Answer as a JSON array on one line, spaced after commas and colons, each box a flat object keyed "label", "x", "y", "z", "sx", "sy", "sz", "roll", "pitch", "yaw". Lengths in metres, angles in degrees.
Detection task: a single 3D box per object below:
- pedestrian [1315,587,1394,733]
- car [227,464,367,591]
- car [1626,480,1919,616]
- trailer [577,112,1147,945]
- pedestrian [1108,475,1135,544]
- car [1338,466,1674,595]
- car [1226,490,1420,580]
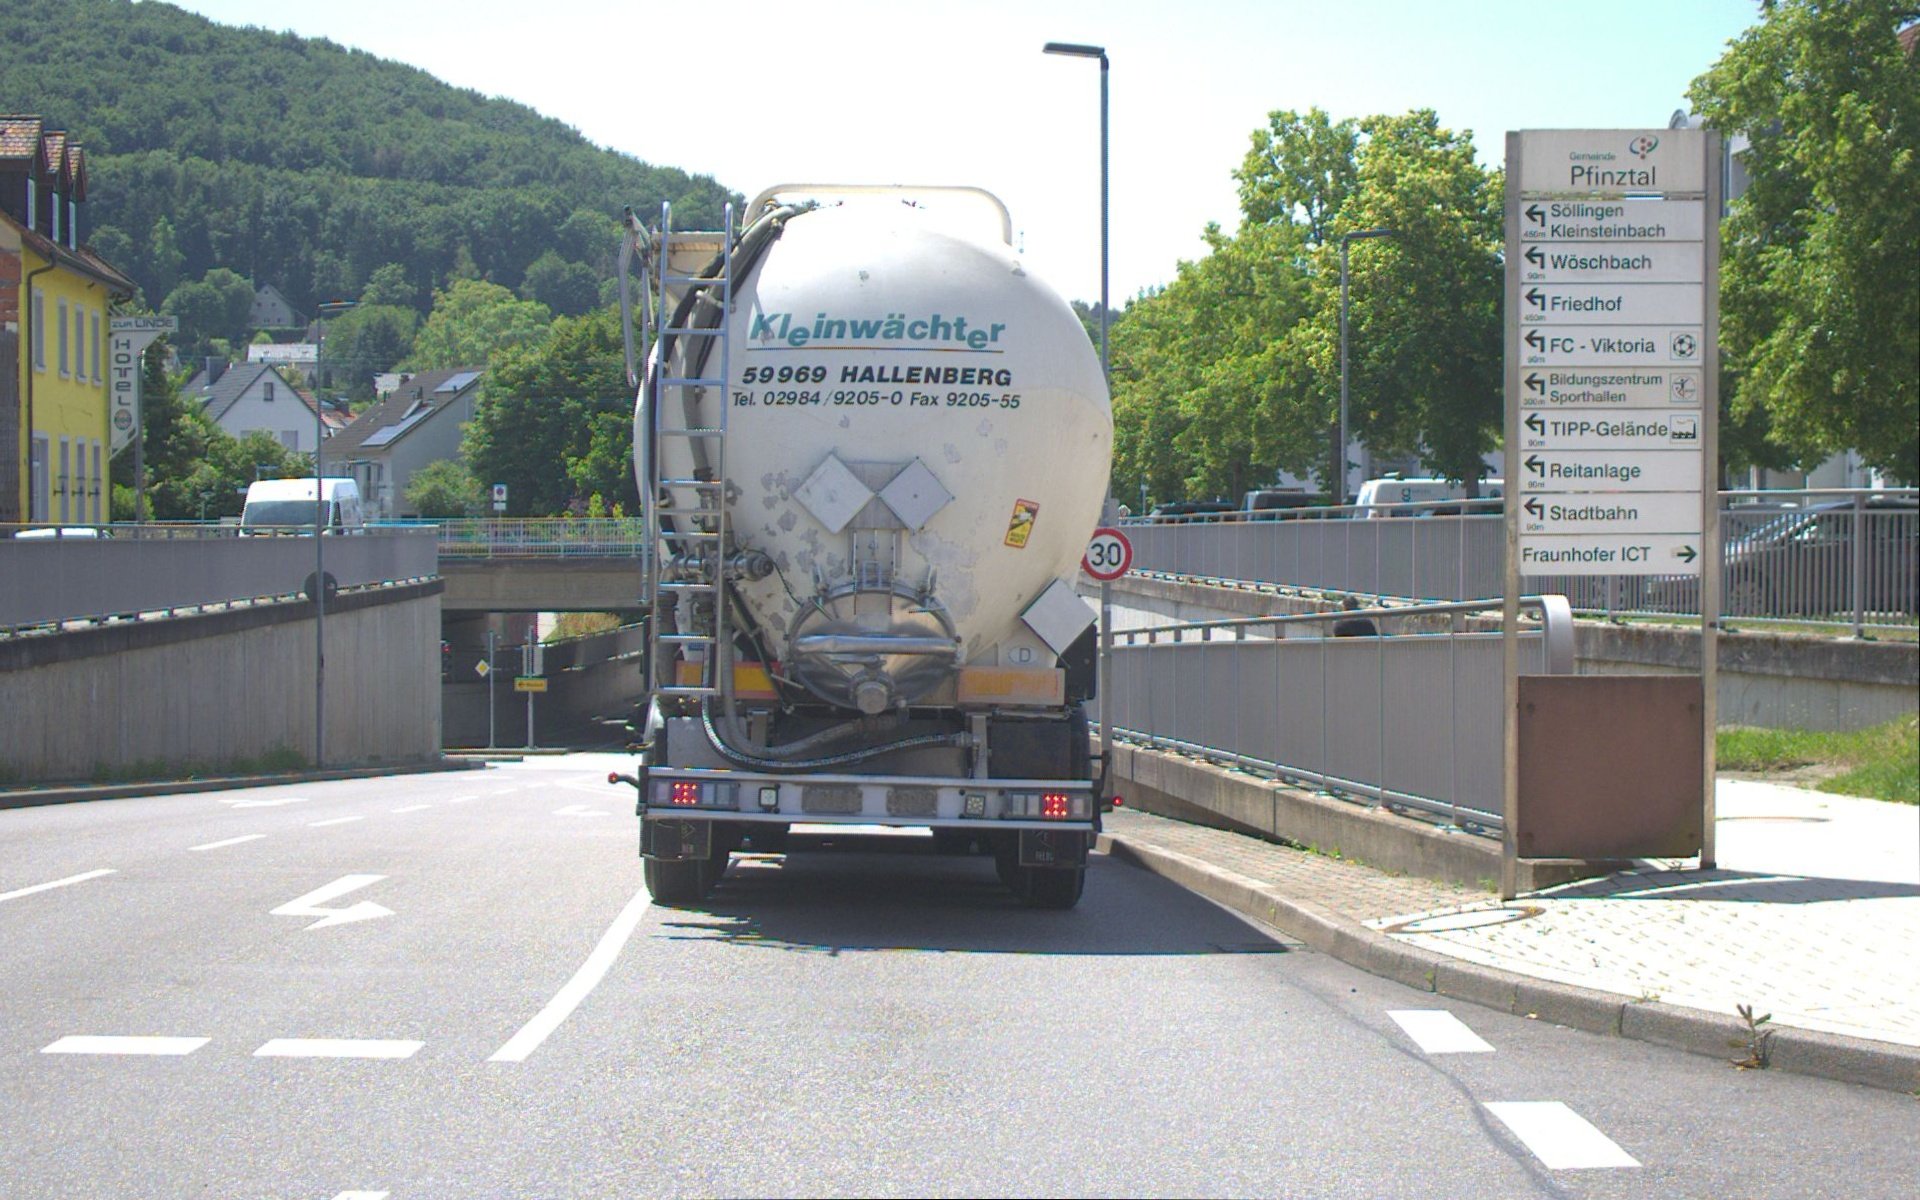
[{"label": "pedestrian", "x": 4.823, "y": 0.738, "z": 42.075, "sx": 0.836, "sy": 1.776, "sz": 0.788, "roll": 0, "pitch": -1, "yaw": -2}, {"label": "car", "x": -13.977, "y": -1.526, "z": 72.751, "sx": 2.065, "sy": 2.528, "sz": 5.662, "roll": 2, "pitch": 1, "yaw": -3}, {"label": "car", "x": 9.698, "y": -0.590, "z": 38.835, "sx": 3.986, "sy": 1.493, "sz": 1.749, "roll": 0, "pitch": 1, "yaw": -1}, {"label": "trailer", "x": -0.609, "y": -0.225, "z": 23.534, "sx": 2.735, "sy": 4.051, "sz": 13.312, "roll": 1, "pitch": -1, "yaw": -1}, {"label": "pedestrian", "x": 4.160, "y": -2.328, "z": 88.668, "sx": 0.673, "sy": 1.773, "sz": 0.594, "roll": 0, "pitch": 1, "yaw": -1}, {"label": "car", "x": 8.847, "y": -1.122, "z": 55.977, "sx": 5.112, "sy": 2.056, "sz": 1.989, "roll": 0, "pitch": 1, "yaw": -1}, {"label": "car", "x": 7.674, "y": -1.370, "z": 72.866, "sx": 3.905, "sy": 1.879, "sz": 1.686, "roll": 0, "pitch": 1, "yaw": -1}]
